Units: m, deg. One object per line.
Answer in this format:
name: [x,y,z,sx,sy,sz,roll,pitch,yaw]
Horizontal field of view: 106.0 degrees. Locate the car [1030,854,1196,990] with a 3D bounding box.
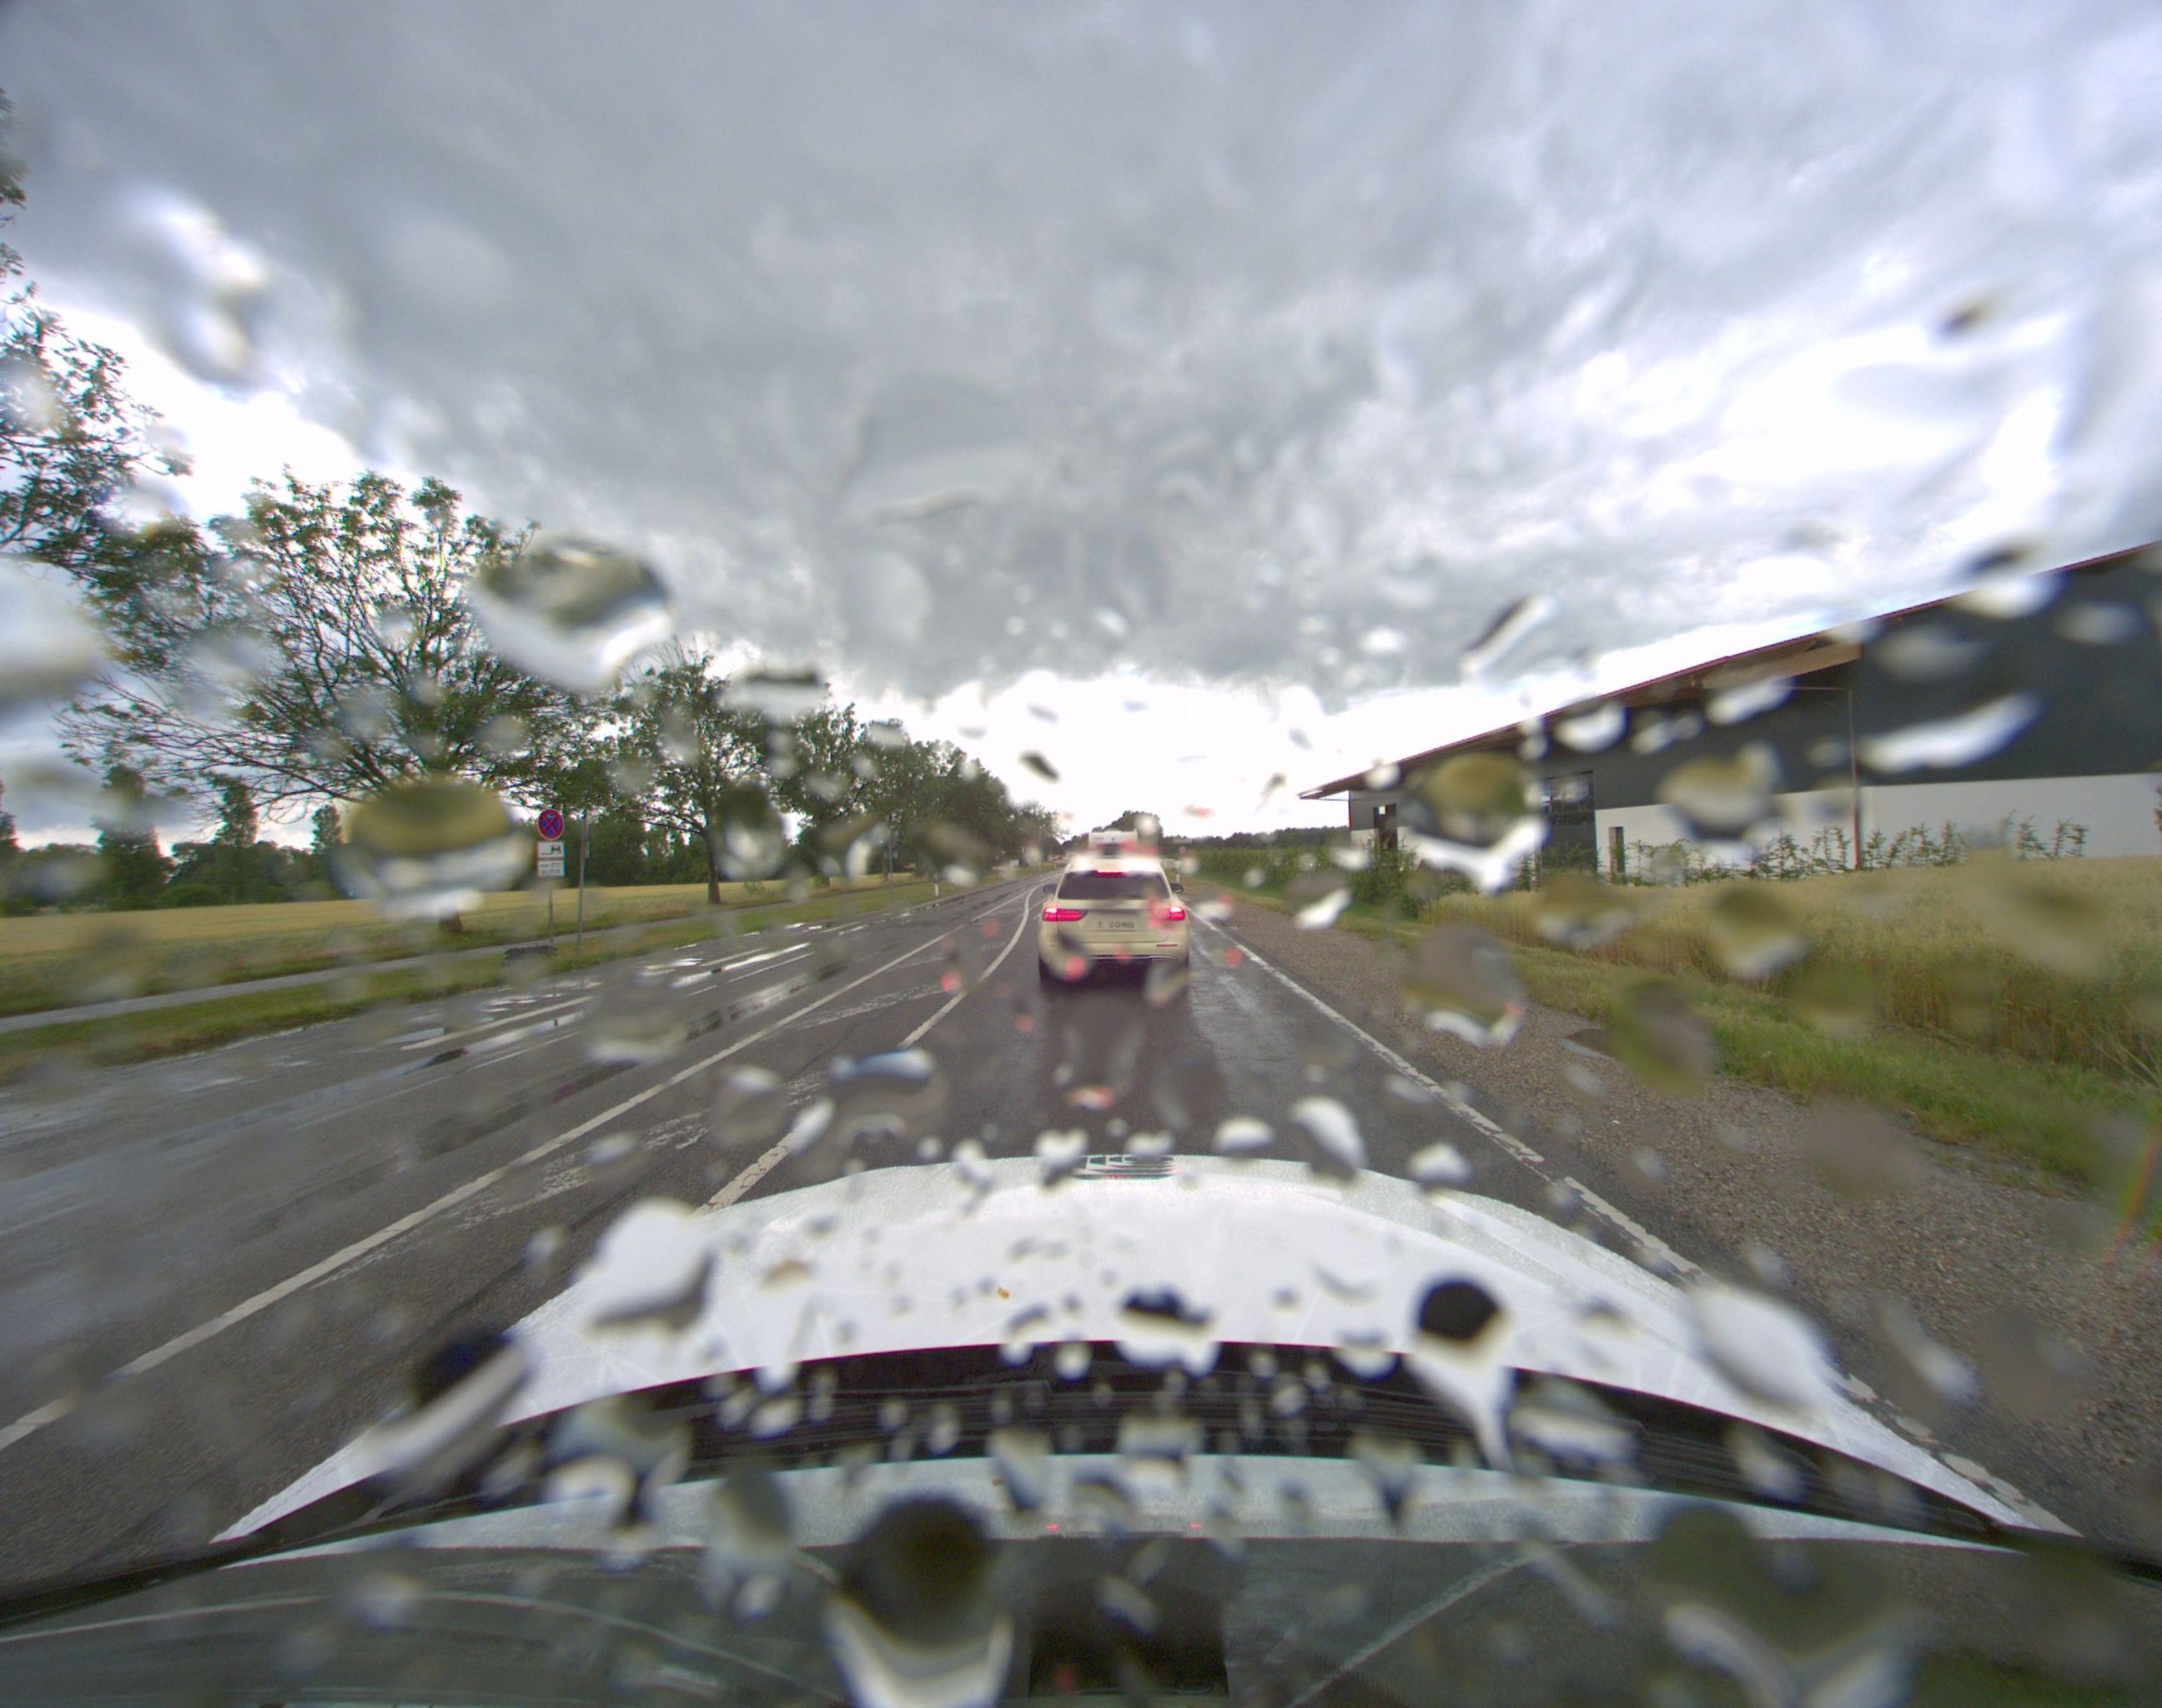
car: [0.436,0.753,10.975,1.790,1.464,4.033,-1,0,2]

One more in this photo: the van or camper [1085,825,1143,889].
van or camper: [1.653,0.145,40.140,2.487,2.831,5.938,-3,0,3]

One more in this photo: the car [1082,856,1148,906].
car: [1.087,0.812,26.008,1.887,1.429,3.930,-1,0,2]
